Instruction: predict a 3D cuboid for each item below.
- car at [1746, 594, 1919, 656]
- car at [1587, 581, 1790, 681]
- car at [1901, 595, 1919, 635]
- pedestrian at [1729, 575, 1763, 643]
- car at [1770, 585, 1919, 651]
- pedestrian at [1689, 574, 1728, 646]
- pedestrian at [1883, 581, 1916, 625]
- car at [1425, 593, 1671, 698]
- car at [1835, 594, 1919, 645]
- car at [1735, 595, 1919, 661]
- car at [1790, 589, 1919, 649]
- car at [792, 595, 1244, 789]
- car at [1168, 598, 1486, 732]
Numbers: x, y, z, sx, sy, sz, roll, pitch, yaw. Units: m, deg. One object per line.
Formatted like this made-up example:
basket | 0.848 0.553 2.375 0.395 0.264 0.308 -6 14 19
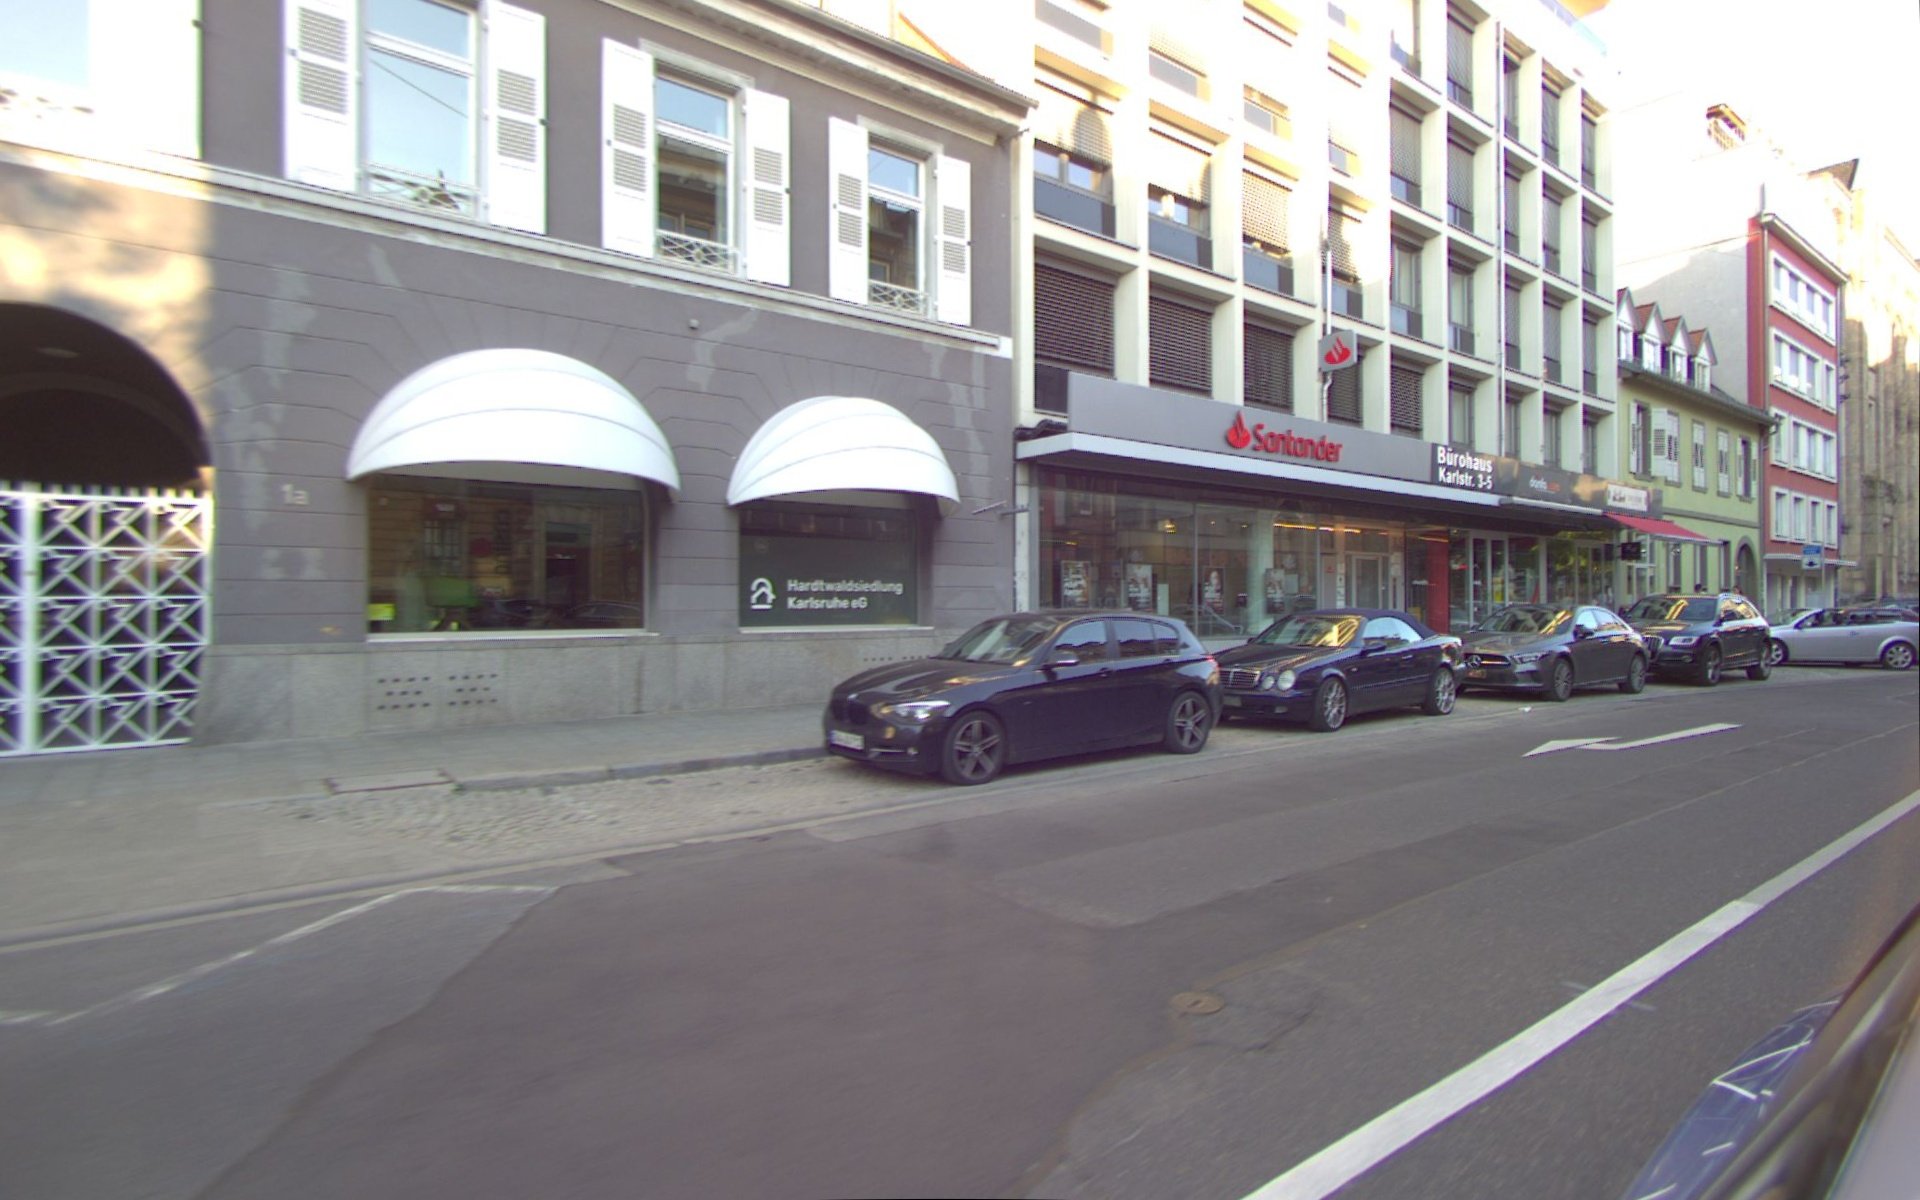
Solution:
car | 22.358 0.596 25.087 4.174 1.458 1.743 0 0 20
car | 13.791 0.505 19.085 4.280 1.679 1.833 0 0 -35
car | 37.718 0.560 37.228 4.181 1.492 1.740 0 0 24
pedestrian | 22.630 0.256 29.127 0.706 1.911 0.612 0 0 -38
car | 24.392 0.462 26.824 4.174 1.698 1.743 0 0 20
pedestrian | 22.151 0.287 29.949 0.706 2.093 0.762 0 0 -38
pedestrian | 42.014 0.133 45.244 0.993 1.968 0.851 0 0 -32
car | 9.458 0.627 16.159 4.473 1.464 1.747 0 0 -36
car | 28.860 0.568 29.882 4.181 1.492 1.740 0 0 24
car | 20.560 0.612 23.118 4.162 1.458 1.748 0 0 12
car | 26.297 0.514 28.474 4.181 1.637 1.740 0 0 24
car | 0.678 0.685 9.614 4.171 1.465 1.747 0 0 -37
car | 4.765 0.685 12.834 4.419 1.405 1.746 0 0 -38
